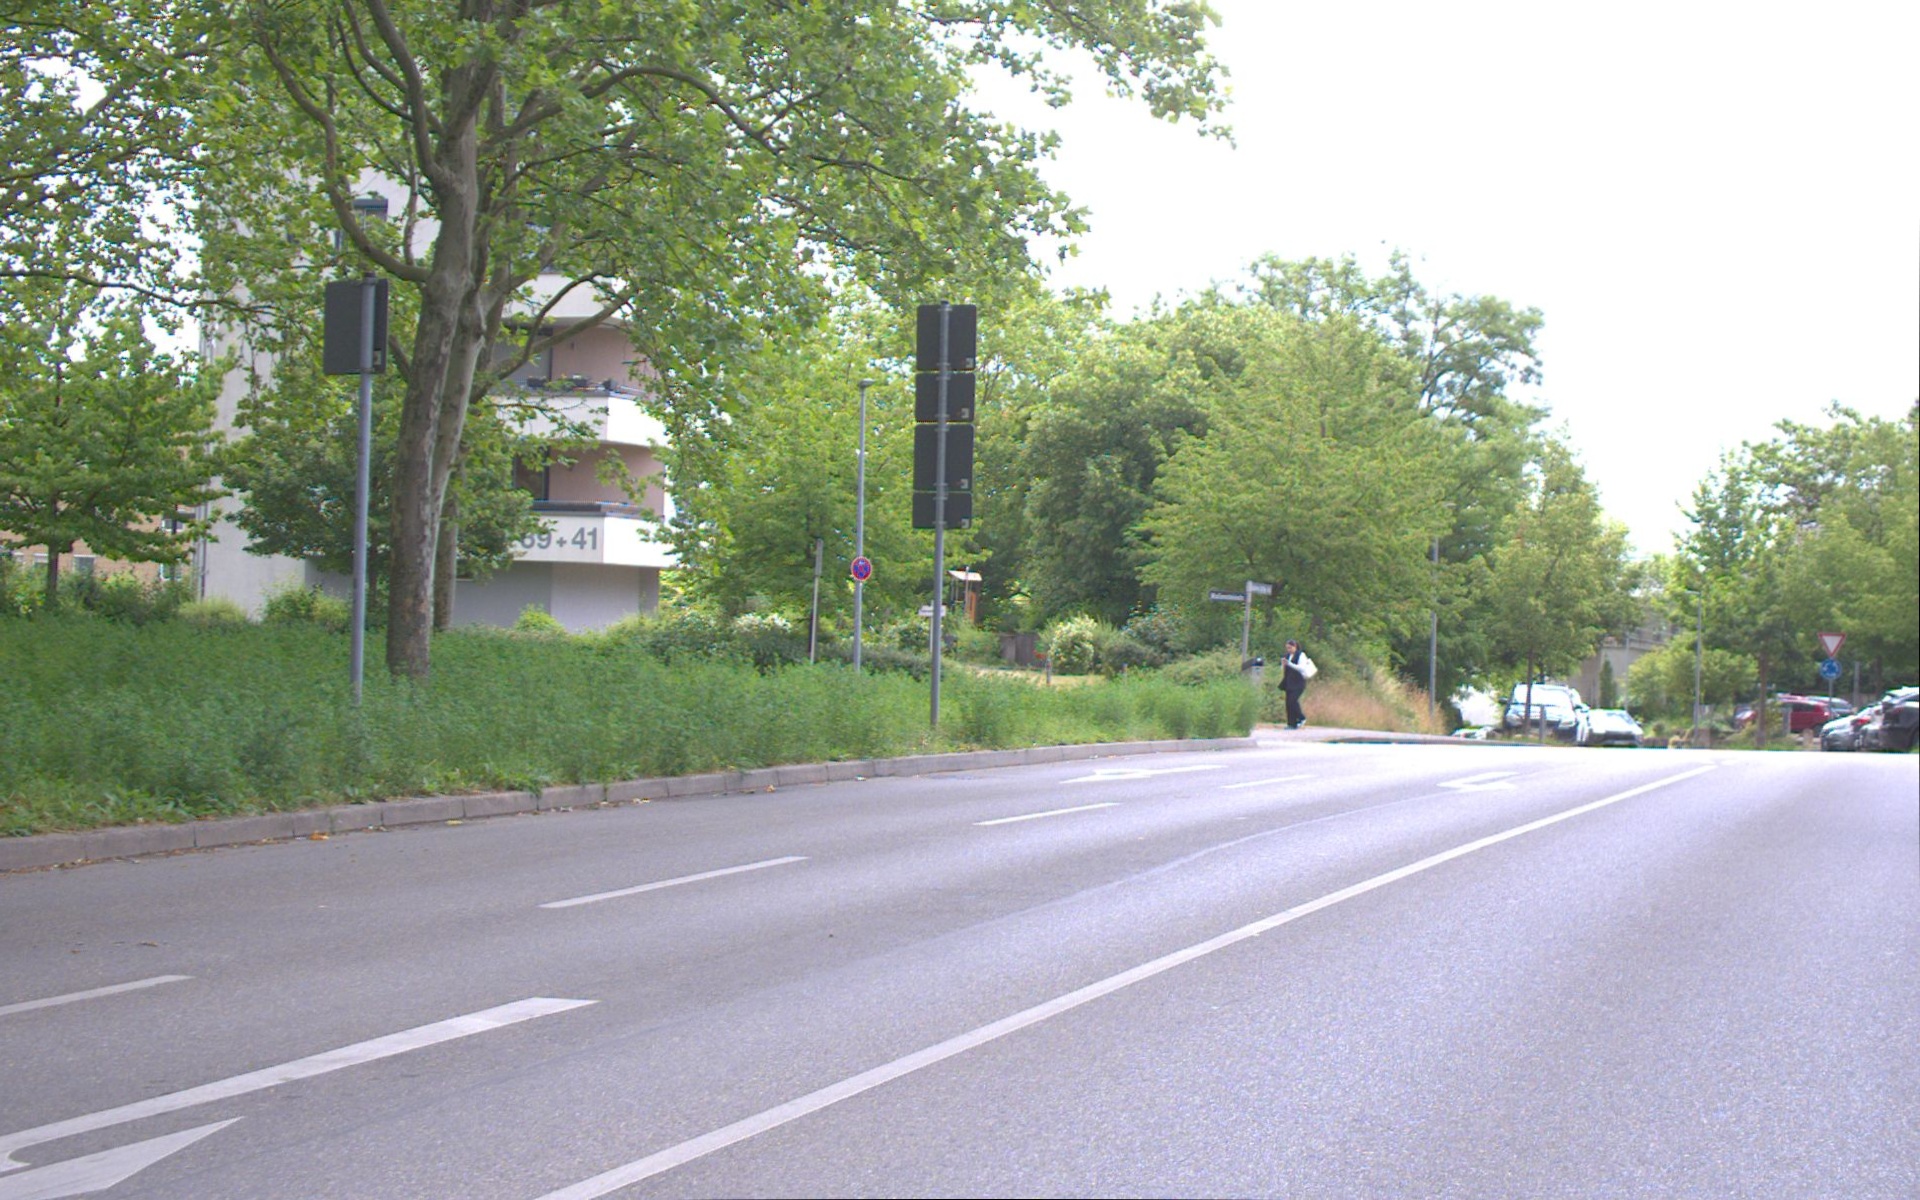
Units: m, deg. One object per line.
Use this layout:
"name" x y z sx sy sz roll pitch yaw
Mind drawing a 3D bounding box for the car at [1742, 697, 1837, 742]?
"car" 33.332 4.784 138.245 3.541 1.648 1.620 2 -1 9

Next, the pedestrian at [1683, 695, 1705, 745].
"pedestrian" 27.653 4.514 129.456 0.721 1.858 0.650 1 0 6

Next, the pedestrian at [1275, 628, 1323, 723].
"pedestrian" 6.261 1.394 63.505 0.821 1.717 0.777 1 1 7

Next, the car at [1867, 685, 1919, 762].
"car" 22.164 2.767 76.118 3.925 1.625 1.770 1 -4 17

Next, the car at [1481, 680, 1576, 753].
"car" 12.542 2.539 75.745 1.767 1.495 3.932 1 -1 14

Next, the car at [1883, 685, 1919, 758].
"car" 21.768 2.633 73.393 3.925 1.495 1.770 1 -4 17

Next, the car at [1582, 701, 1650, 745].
"car" 22.580 4.217 118.398 1.975 1.459 3.933 1 -2 6

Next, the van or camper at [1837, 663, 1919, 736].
"van or camper" 26.071 2.690 92.437 4.674 1.863 1.771 1 0 9

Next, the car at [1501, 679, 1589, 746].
"car" 13.730 2.635 80.574 1.767 1.495 3.932 1 -1 14
